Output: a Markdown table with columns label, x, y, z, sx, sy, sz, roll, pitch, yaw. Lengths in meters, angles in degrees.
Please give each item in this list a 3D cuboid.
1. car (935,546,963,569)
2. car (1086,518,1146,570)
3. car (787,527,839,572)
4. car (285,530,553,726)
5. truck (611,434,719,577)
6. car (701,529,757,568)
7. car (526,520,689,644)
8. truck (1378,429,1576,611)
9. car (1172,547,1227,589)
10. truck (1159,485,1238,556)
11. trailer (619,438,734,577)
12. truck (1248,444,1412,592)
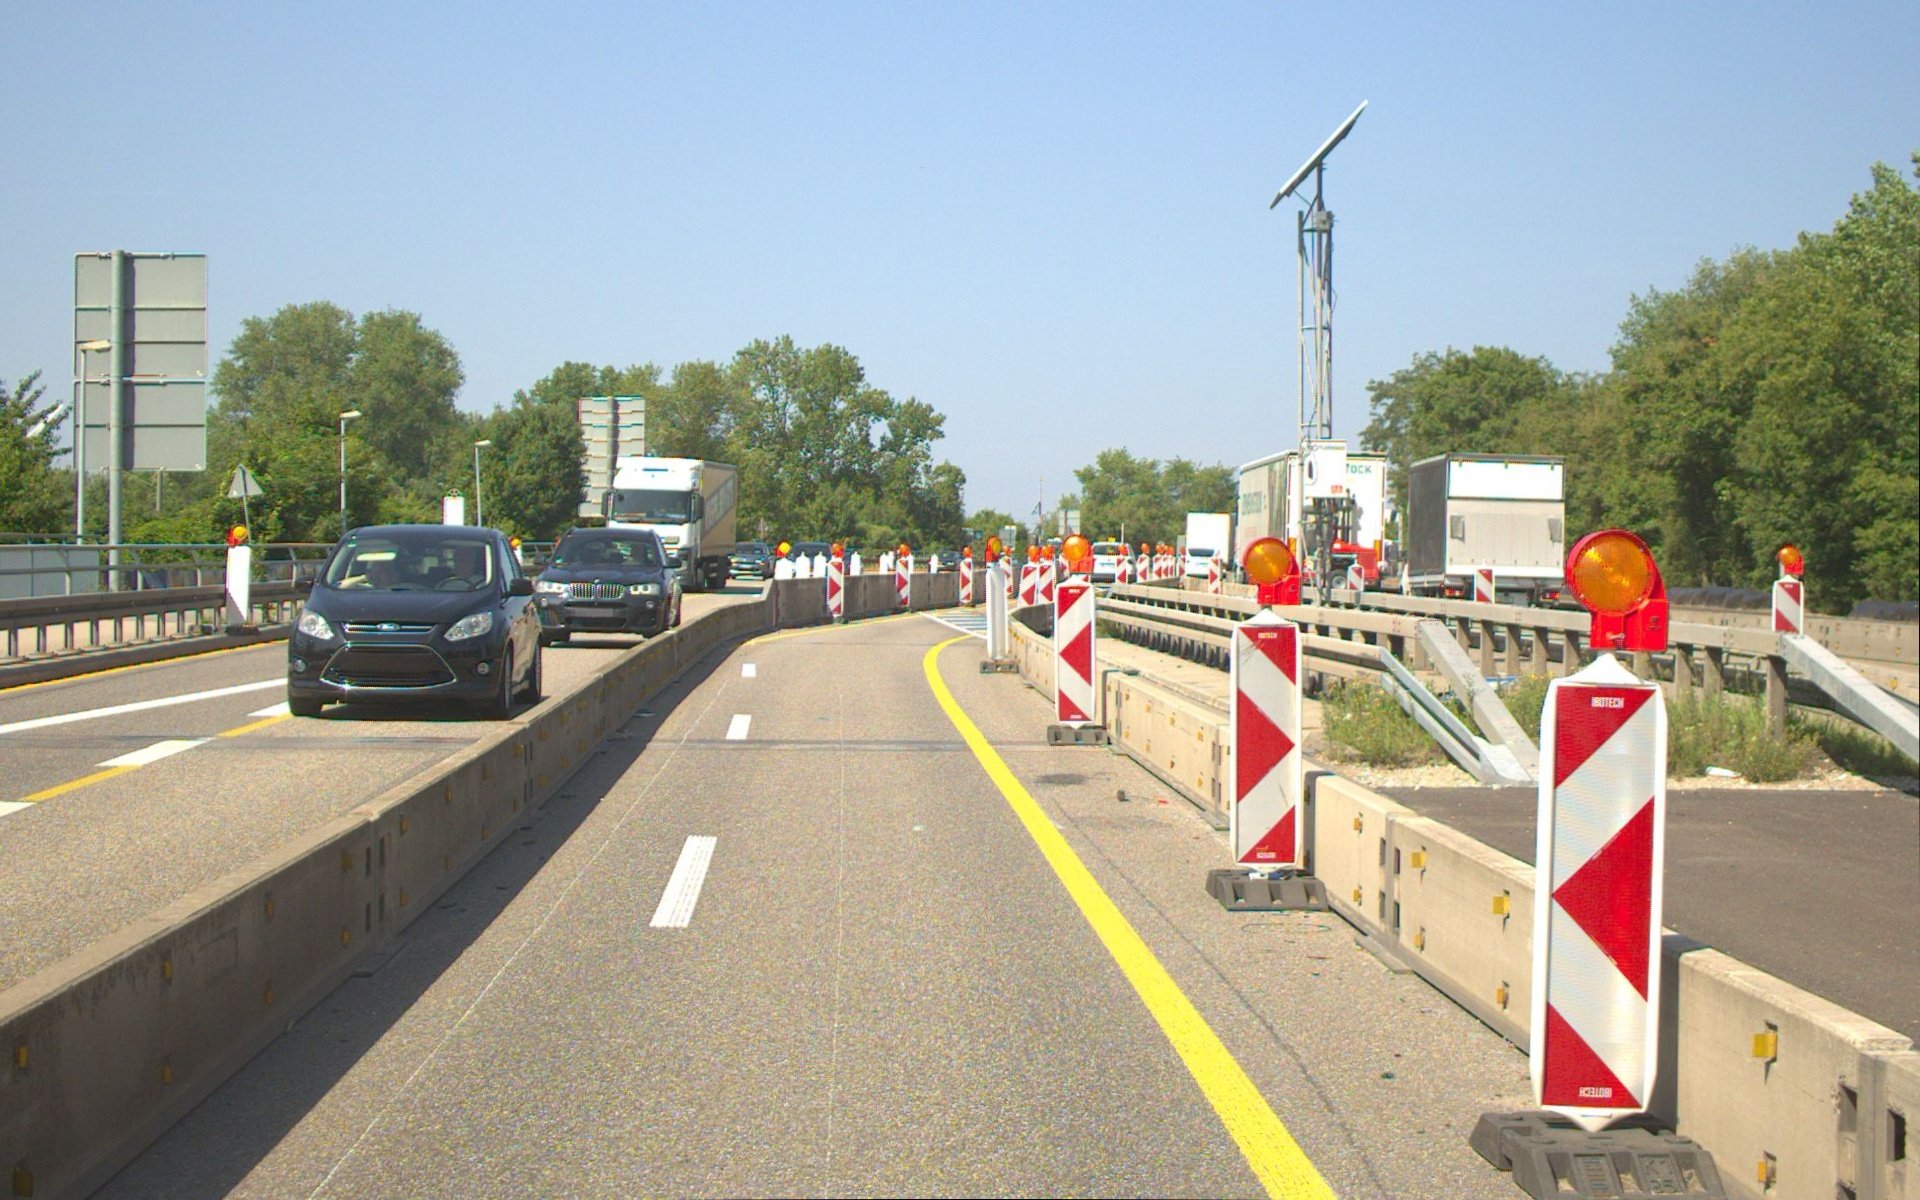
| label | x | y | z | sx | sy | sz | roll | pitch | yaw |
| --- | --- | --- | --- | --- | --- | --- | --- | --- | --- |
| car | -0.696 | -2.767 | 222.446 | 1.737 | 1.471 | 4.645 | 0 | 1 | 1 |
| car | 5.451 | -1.971 | 120.716 | 1.816 | 1.770 | 4.000 | 0 | 1 | -1 |
| car | -5.206 | -1.792 | 122.184 | 1.790 | 1.563 | 3.873 | 0 | 1 | -1 |
| car | -4.539 | 0.181 | 29.328 | 1.738 | 1.546 | 3.943 | 1 | 1 | -1 |
| truck | -8.708 | -2.770 | 102.092 | 2.749 | 4.122 | 6.416 | 0 | 1 | -1 |
| car | -9.336 | -2.093 | 139.426 | 1.932 | 1.503 | 4.469 | 1 | 1 | 0 |
| car | -4.875 | -0.289 | 48.111 | 1.863 | 1.626 | 4.566 | 1 | 1 | -1 |
| truck | 10.299 | -1.612 | 69.216 | 2.634 | 3.416 | 7.234 | 1 | 1 | -1 |
| car | 10.376 | -1.407 | 148.960 | 1.993 | 1.770 | 4.000 | 0 | 1 | -1 |
| truck | 14.636 | -4.857 | 211.861 | 4.220 | 4.252 | 10.241 | 0 | 1 | 0 |
| trailer | -8.876 | -2.849 | 109.228 | 2.761 | 4.122 | 14.533 | 0 | 1 | -1 |
| truck | 9.701 | -2.133 | 90.922 | 3.388 | 3.761 | 7.233 | 0 | 1 | -1 |
